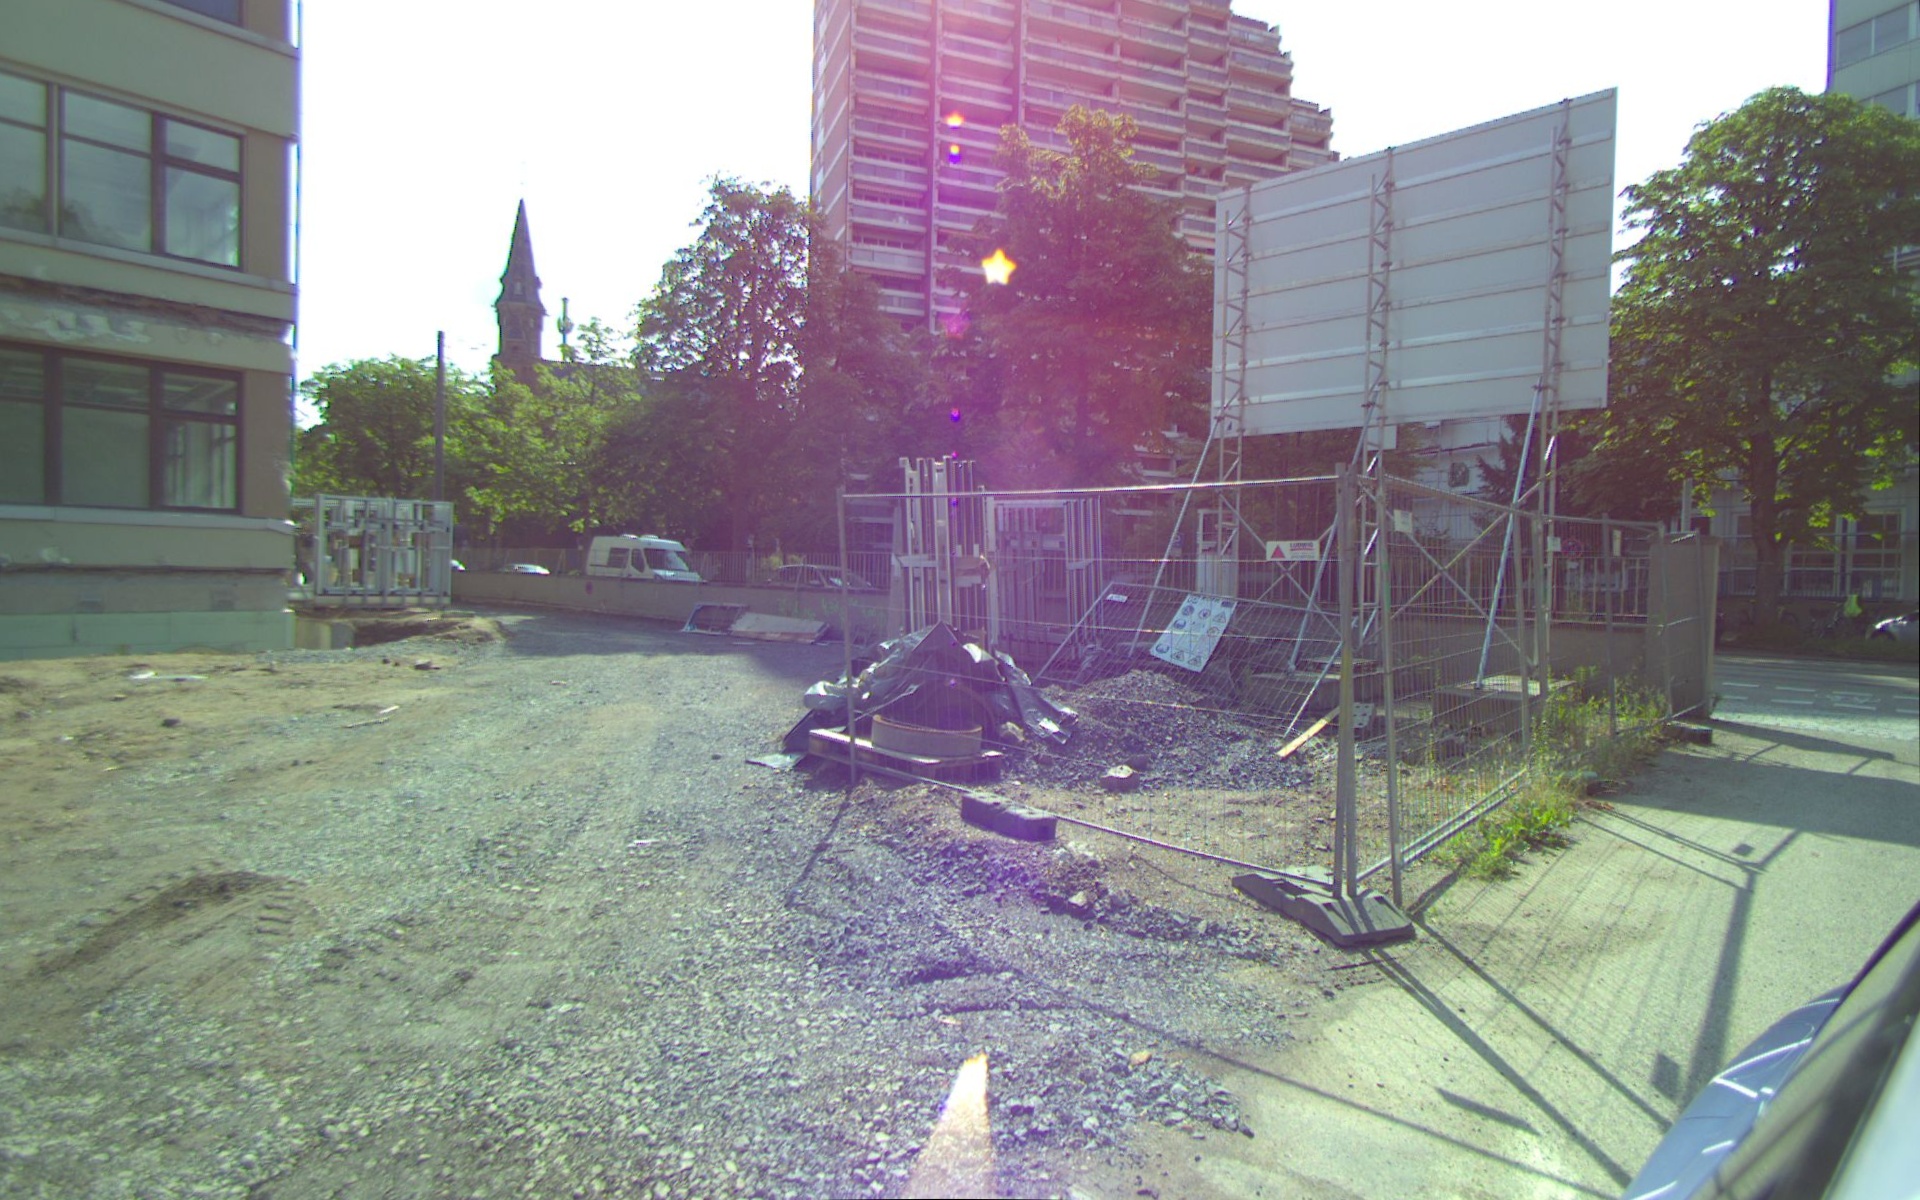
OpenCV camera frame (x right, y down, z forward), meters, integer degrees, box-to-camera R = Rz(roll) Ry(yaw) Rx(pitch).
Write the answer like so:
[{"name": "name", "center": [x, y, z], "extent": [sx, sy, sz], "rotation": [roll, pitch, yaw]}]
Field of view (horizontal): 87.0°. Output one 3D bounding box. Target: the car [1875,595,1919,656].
[{"name": "car", "center": [23.951, 0.612, 23.309], "extent": [1.748, 1.483, 4.237], "rotation": [2, -2, -3]}]

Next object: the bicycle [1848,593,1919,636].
[{"name": "bicycle", "center": [26.951, 0.420, 29.523], "extent": [2.013, 1.101, 0.498], "rotation": [-3, -2, -17]}]

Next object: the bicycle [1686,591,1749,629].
[{"name": "bicycle", "center": [25.050, 0.326, 33.474], "extent": [2.013, 1.101, 0.498], "rotation": [-3, -2, -17]}]

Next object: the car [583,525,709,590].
[{"name": "car", "center": [-10.915, -1.374, 34.927], "extent": [1.967, 2.039, 5.293], "rotation": [0, 0, -45]}]

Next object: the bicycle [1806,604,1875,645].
[{"name": "bicycle", "center": [26.318, 0.733, 30.254], "extent": [2.013, 1.101, 0.498], "rotation": [-3, -2, -17]}]

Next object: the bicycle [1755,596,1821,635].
[{"name": "bicycle", "center": [26.027, 0.478, 31.801], "extent": [2.013, 1.101, 0.498], "rotation": [-3, -2, -17]}]

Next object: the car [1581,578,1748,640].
[{"name": "car", "center": [19.205, 0.277, 27.825], "extent": [1.727, 1.481, 3.998], "rotation": [-4, -1, 1]}]
